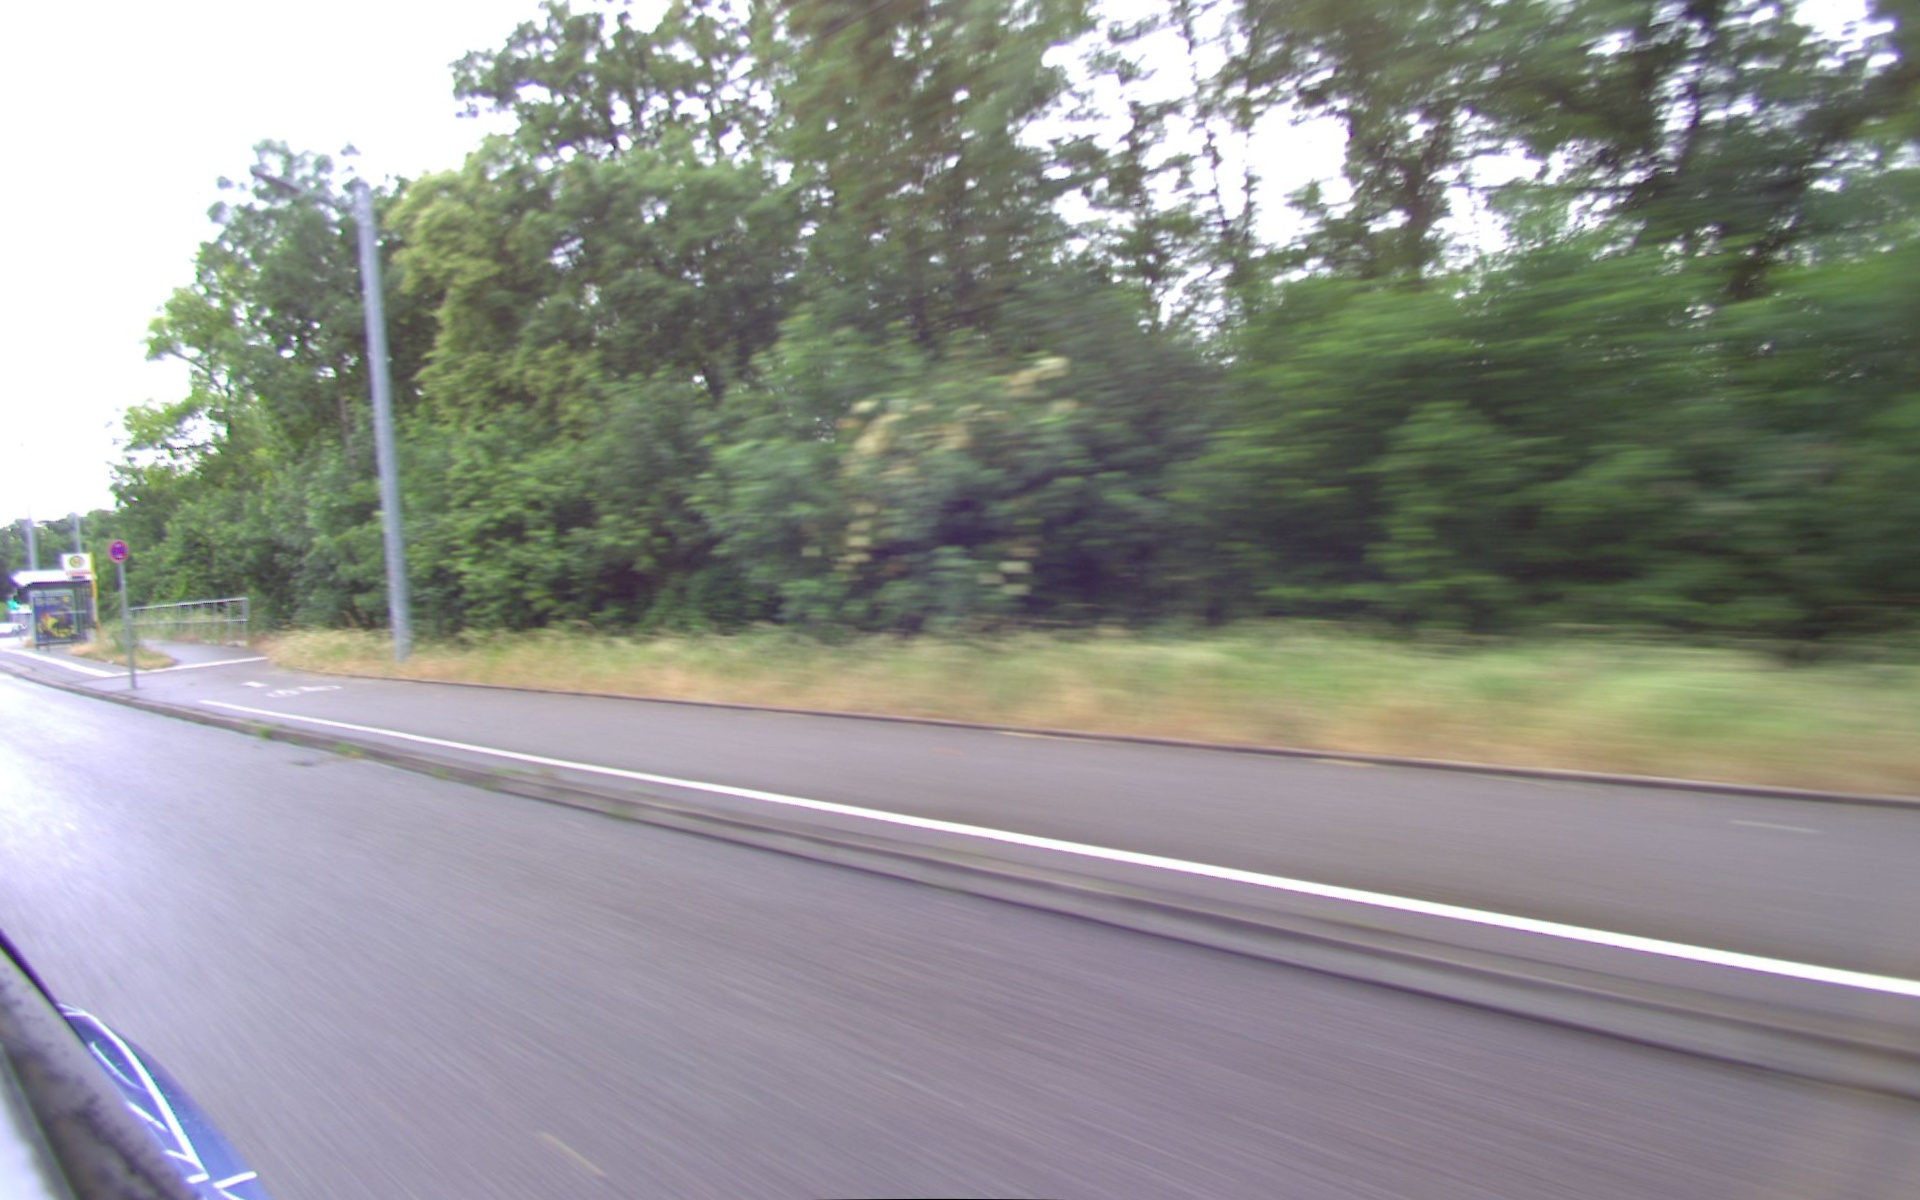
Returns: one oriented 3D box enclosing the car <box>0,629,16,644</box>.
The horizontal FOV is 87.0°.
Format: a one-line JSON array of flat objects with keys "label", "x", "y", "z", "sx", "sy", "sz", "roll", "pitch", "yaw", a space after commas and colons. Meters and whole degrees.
[{"label": "car", "x": -99.128, "y": 3.813, "z": 104.411, "sx": 1.788, "sy": 1.408, "sz": 4.114, "roll": -3, "pitch": 2, "yaw": -33}]
